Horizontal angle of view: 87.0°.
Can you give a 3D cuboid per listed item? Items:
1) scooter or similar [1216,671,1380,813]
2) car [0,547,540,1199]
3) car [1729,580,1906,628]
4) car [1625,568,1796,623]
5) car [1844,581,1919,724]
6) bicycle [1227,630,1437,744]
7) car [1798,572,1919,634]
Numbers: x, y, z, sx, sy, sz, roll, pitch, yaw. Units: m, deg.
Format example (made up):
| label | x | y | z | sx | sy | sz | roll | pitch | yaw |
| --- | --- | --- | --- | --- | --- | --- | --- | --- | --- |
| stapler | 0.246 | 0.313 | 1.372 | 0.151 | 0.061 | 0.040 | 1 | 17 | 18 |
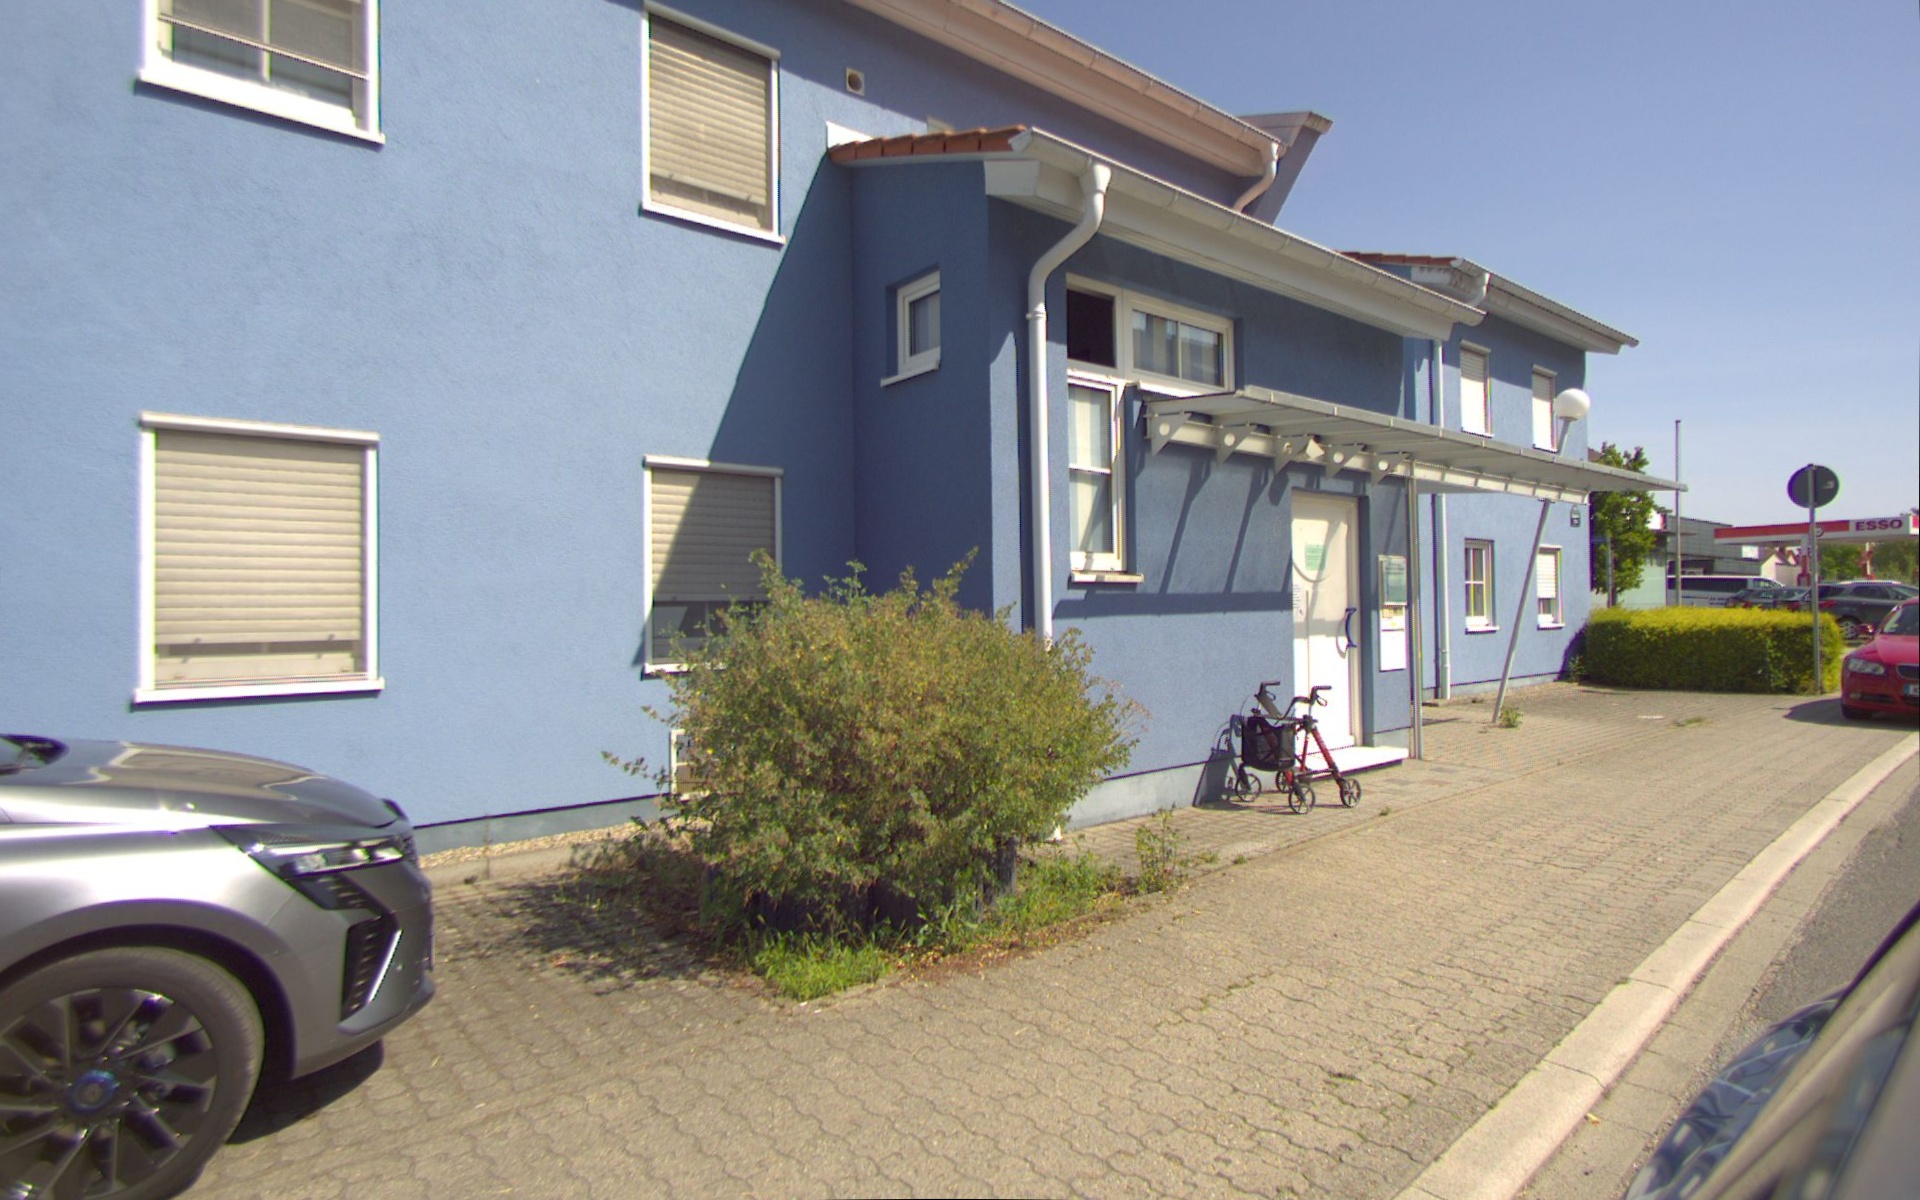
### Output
| label | x | y | z | sx | sy | sz | roll | pitch | yaw |
| --- | --- | --- | --- | --- | --- | --- | --- | --- | --- |
| scooter or similar | 2.323 | 0.939 | 6.971 | 0.812 | 0.825 | 0.730 | -1 | 0 | -36 |
| car | -3.265 | 0.642 | 2.123 | 4.075 | 1.438 | 1.691 | -1 | -1 | -42 |
| car | 29.746 | 0.151 | 35.281 | 4.269 | 1.570 | 1.968 | -1 | 0 | 24 |
| car | 29.265 | -0.163 | 39.751 | 5.250 | 2.039 | 2.204 | -1 | 0 | 35 |
| car | 12.038 | 0.540 | 11.748 | 4.272 | 1.513 | 1.738 | -1 | 1 | -35 |
| bicycle | 3.722 | 0.827 | 10.295 | 0.645 | 0.993 | 1.959 | 0 | 0 | -38 |
| car | 26.430 | 0.078 | 28.422 | 4.068 | 1.674 | 1.817 | -1 | 0 | 24 |
